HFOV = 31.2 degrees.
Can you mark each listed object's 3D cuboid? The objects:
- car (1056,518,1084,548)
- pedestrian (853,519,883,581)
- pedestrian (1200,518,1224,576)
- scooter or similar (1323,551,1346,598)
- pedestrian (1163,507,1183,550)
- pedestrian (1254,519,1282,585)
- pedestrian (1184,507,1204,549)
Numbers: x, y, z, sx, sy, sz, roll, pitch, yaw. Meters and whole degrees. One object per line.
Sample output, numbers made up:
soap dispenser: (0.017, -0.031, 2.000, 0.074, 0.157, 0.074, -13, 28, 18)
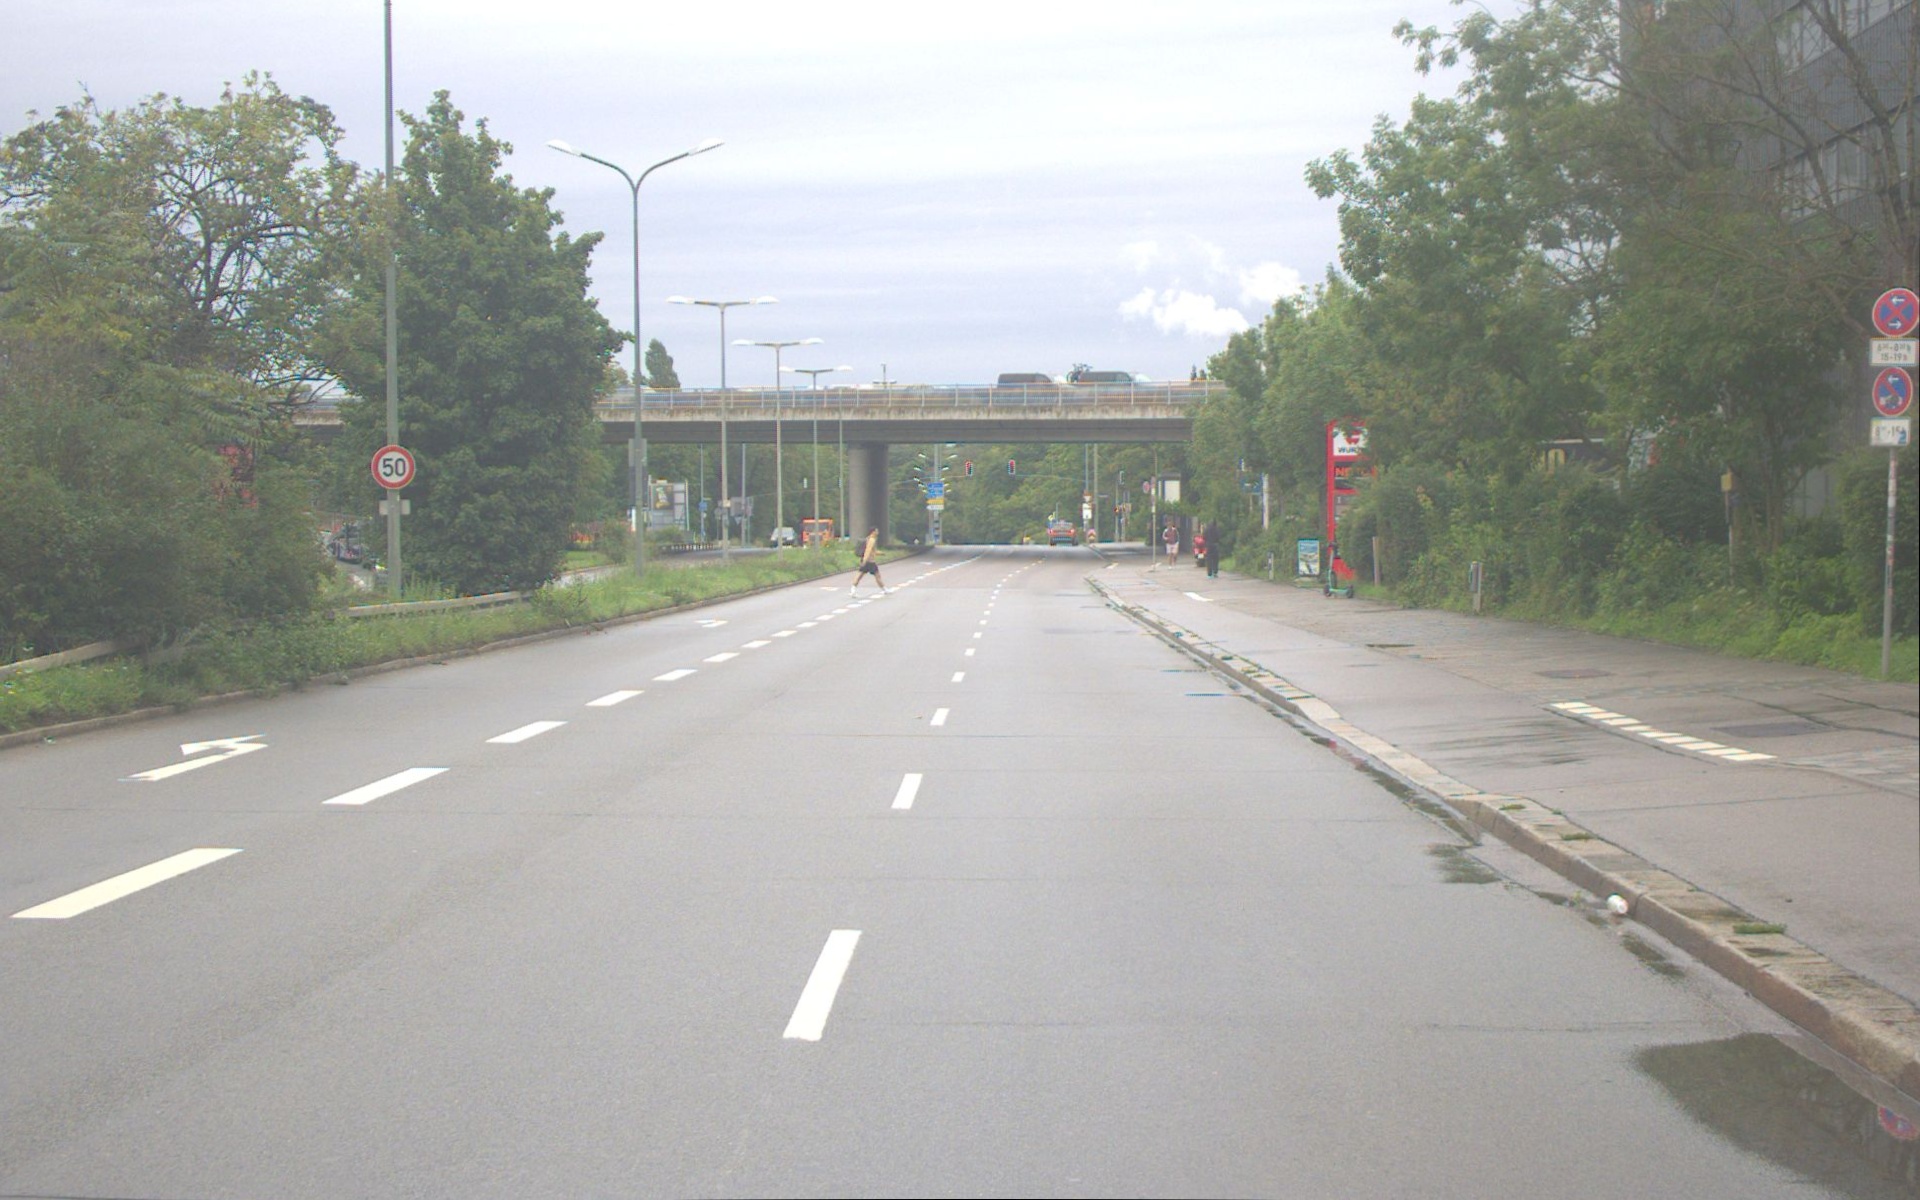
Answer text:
car: (7.559, -4.592, 236.142, 1.812, 2.007, 3.833, 1, 1, 3)
pedestrian: (-2.421, -1.334, 90.803, 0.660, 1.611, 0.691, -2, 1, 6)
pedestrian: (8.166, -1.728, 111.518, 0.689, 1.869, 0.662, -2, 1, 1)
scooter or similar: (8.242, -0.564, 75.732, 0.304, 1.000, 1.220, -2, 1, -2)
pedestrian: (8.170, -2.738, 131.794, 0.689, 1.611, 0.662, -2, 1, 1)
pedestrian: (8.862, -1.392, 99.004, 0.689, 1.869, 0.662, -2, 1, 1)
pedestrian: (9.126, -2.793, 134.045, 0.689, 1.611, 0.662, -2, 1, 1)
